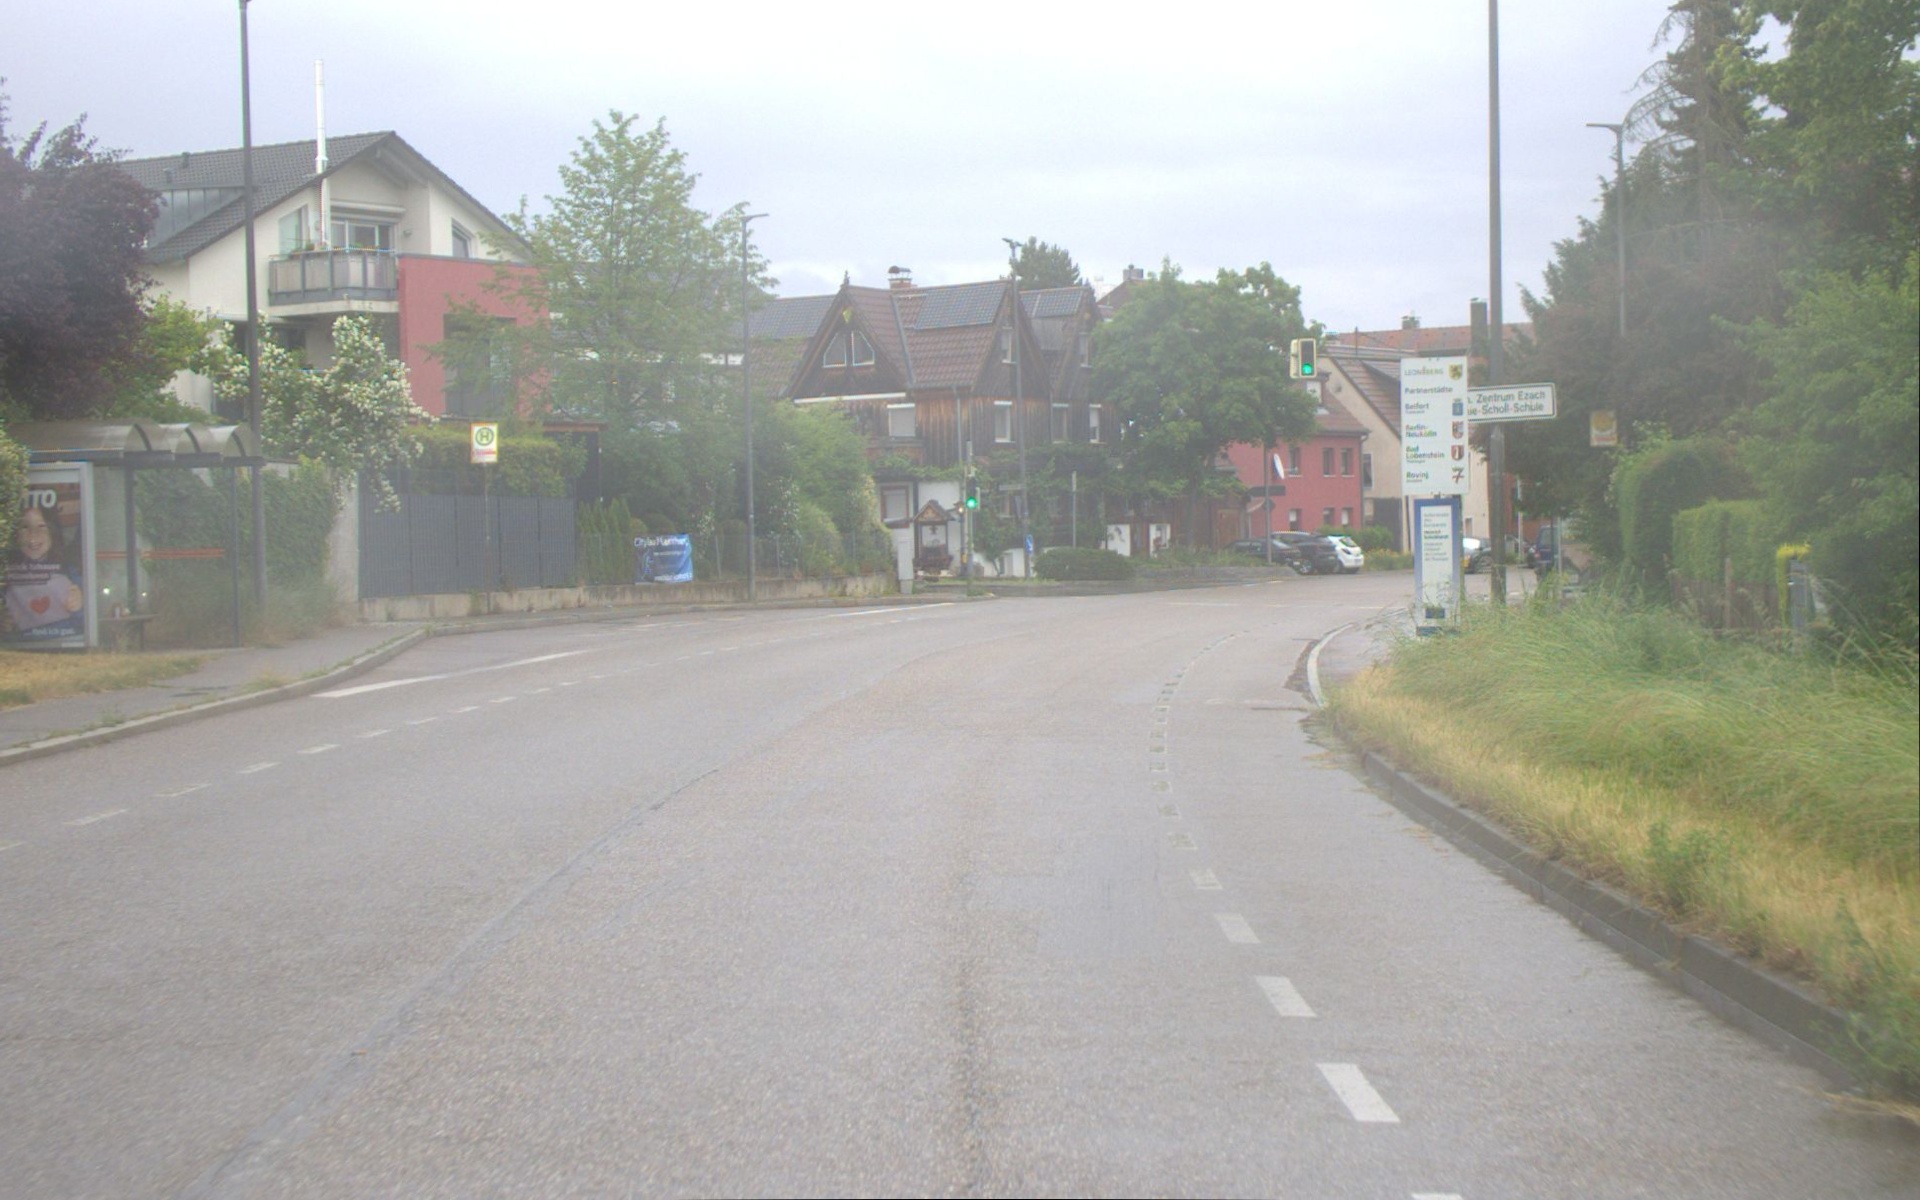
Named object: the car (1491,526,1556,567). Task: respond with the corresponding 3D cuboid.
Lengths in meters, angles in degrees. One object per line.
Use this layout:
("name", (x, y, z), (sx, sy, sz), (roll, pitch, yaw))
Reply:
("car", (23.275, -2.218, 141.964), (1.608, 1.612, 3.271), (-1, 1, 29))

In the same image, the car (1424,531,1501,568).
("car", (19.215, -1.952, 131.355), (1.629, 1.351, 4.105), (2, 2, 27))

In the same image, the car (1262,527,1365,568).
("car", (13.226, -1.960, 128.753), (3.467, 1.474, 1.588), (-1, 1, 31))

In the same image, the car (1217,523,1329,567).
("car", (11.332, -1.995, 124.569), (3.582, 1.501, 1.852), (2, 2, 33))
